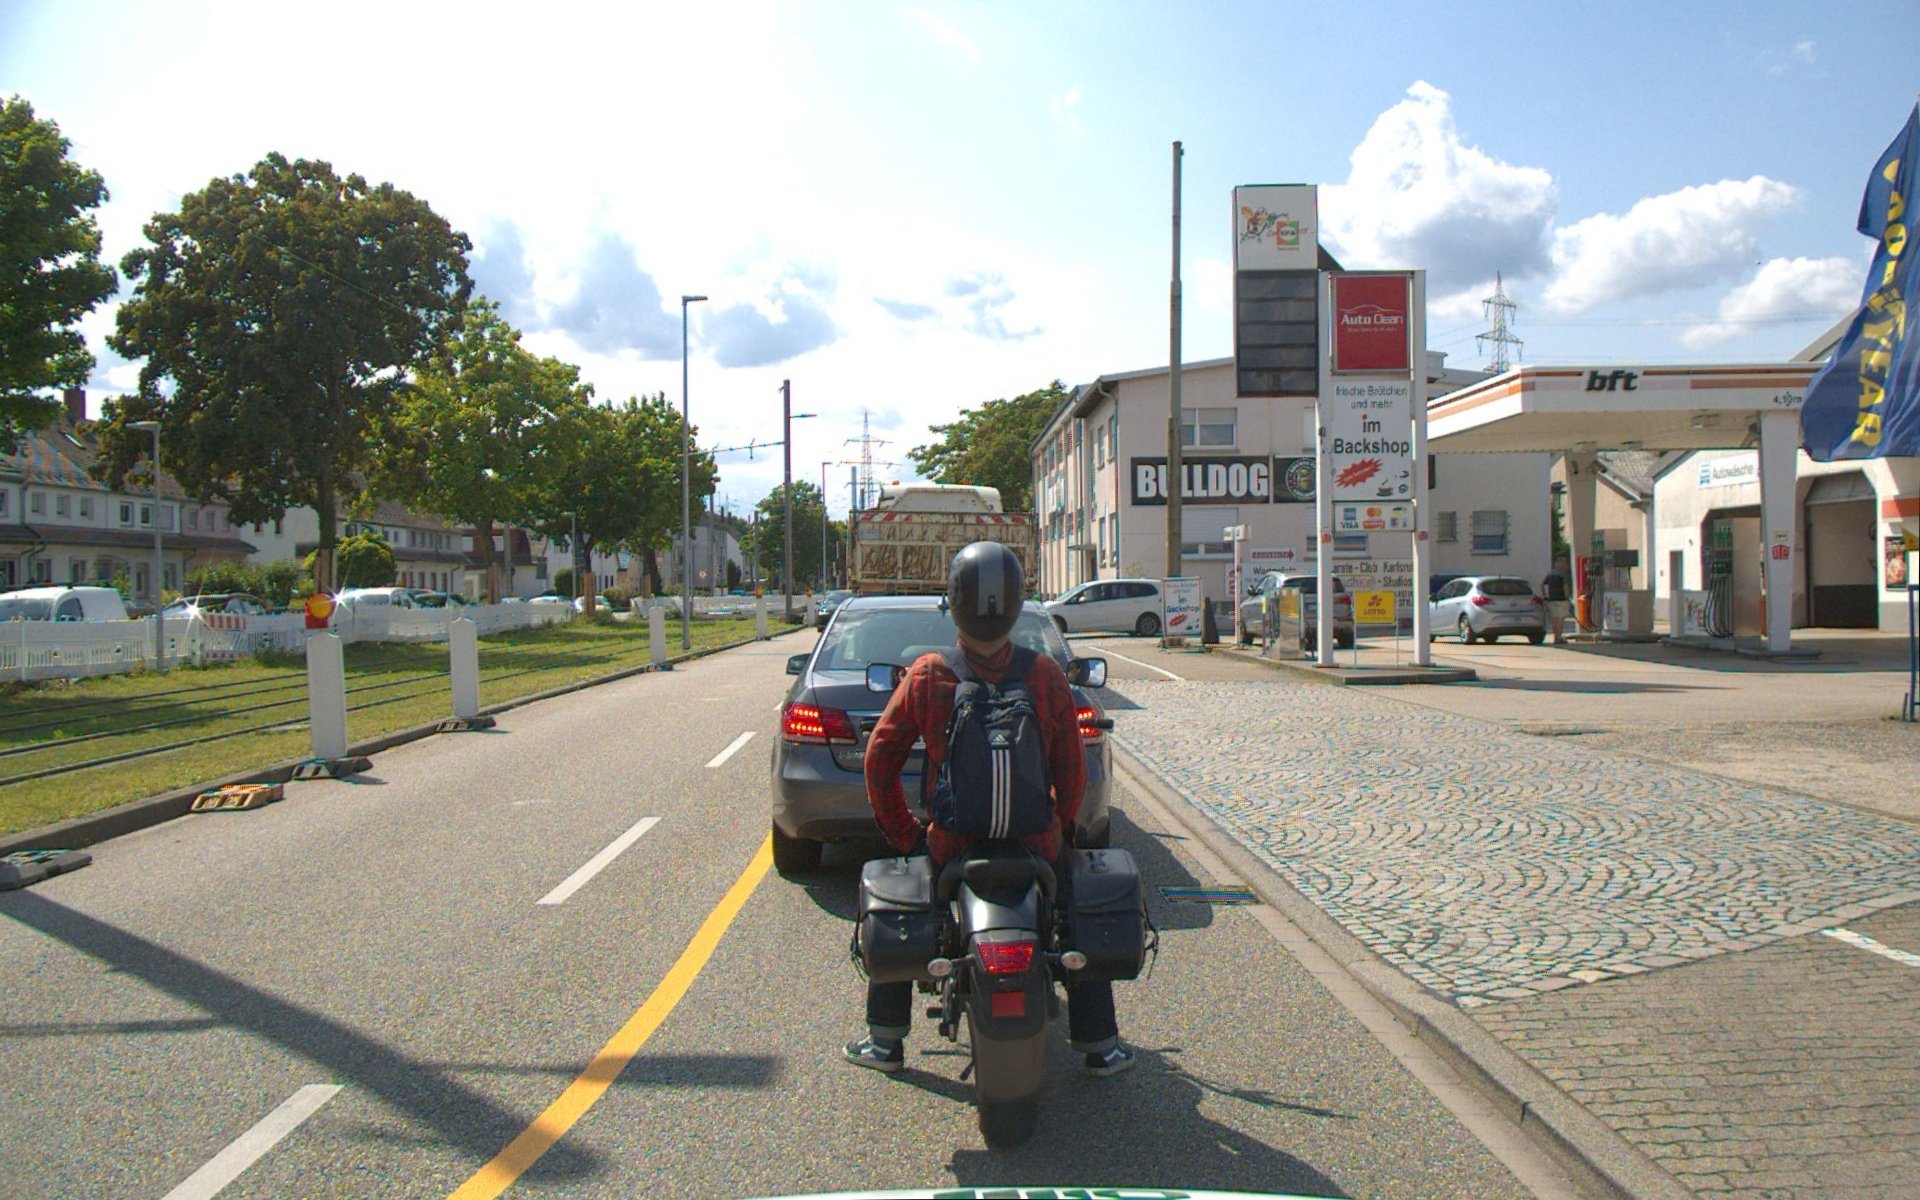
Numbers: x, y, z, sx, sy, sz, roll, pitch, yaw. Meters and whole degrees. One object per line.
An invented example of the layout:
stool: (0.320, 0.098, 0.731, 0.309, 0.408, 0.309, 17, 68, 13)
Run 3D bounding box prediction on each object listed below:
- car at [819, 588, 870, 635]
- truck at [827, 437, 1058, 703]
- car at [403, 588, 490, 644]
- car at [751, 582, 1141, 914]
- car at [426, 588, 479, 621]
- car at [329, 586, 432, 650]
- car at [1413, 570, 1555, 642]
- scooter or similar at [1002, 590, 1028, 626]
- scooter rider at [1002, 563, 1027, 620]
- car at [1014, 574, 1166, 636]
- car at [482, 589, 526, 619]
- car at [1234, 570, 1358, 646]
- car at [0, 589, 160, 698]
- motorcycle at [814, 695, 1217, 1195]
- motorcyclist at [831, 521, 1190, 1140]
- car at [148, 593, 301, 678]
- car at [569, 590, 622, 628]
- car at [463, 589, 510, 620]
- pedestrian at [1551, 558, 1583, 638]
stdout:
car: (-4.249, 0.405, 61.345, 1.646, 1.652, 4.118, -1, 0, -1)
truck: (-0.358, -0.420, 25.464, 2.910, 3.362, 8.404, -1, 0, -2)
car: (-17.022, 0.499, 54.976, 1.664, 1.770, 3.860, -1, 0, -1)
car: (-0.124, 0.670, 9.726, 1.795, 1.505, 4.008, -1, 0, -2)
car: (-28.186, 0.247, 91.929, 1.664, 1.770, 4.061, -1, 0, -1)
car: (-16.957, 0.496, 48.610, 1.664, 1.770, 3.860, -1, 0, -1)
car: (11.770, 0.104, 37.416, 1.795, 1.505, 4.008, -1, 0, -2)
scooter or similar: (1.794, 0.258, 54.312, 0.779, 1.165, 1.519, -1, 0, -1)
scooter rider: (1.784, -0.285, 54.301, 0.779, 1.850, 0.508, -1, 0, -1)
car: (3.667, 0.120, 47.080, 4.029, 1.652, 1.682, -1, 0, -9)
car: (-28.670, 0.233, 104.142, 1.664, 1.770, 4.061, -1, 0, -1)
car: (7.399, 0.144, 36.750, 1.795, 1.562, 4.008, -1, 0, -2)
car: (-16.420, 0.745, 30.289, 1.664, 1.849, 3.860, -1, 0, -1)
motorcycle: (0.117, 0.901, 5.190, 0.956, 1.031, 2.431, 1, 0, -1)
motorcyclist: (0.128, 0.619, 5.071, 0.950, 1.662, 1.214, 1, 0, -1)
car: (-16.675, 0.759, 37.712, 1.664, 1.770, 4.053, -1, 0, -1)
car: (-17.437, 0.410, 79.251, 1.664, 1.770, 3.860, -1, 0, -1)
car: (-28.067, 0.262, 98.140, 1.664, 1.770, 4.061, -1, 0, -1)
pedestrian: (13.132, -0.045, 35.788, 0.621, 1.712, 0.622, -1, 0, 20)
